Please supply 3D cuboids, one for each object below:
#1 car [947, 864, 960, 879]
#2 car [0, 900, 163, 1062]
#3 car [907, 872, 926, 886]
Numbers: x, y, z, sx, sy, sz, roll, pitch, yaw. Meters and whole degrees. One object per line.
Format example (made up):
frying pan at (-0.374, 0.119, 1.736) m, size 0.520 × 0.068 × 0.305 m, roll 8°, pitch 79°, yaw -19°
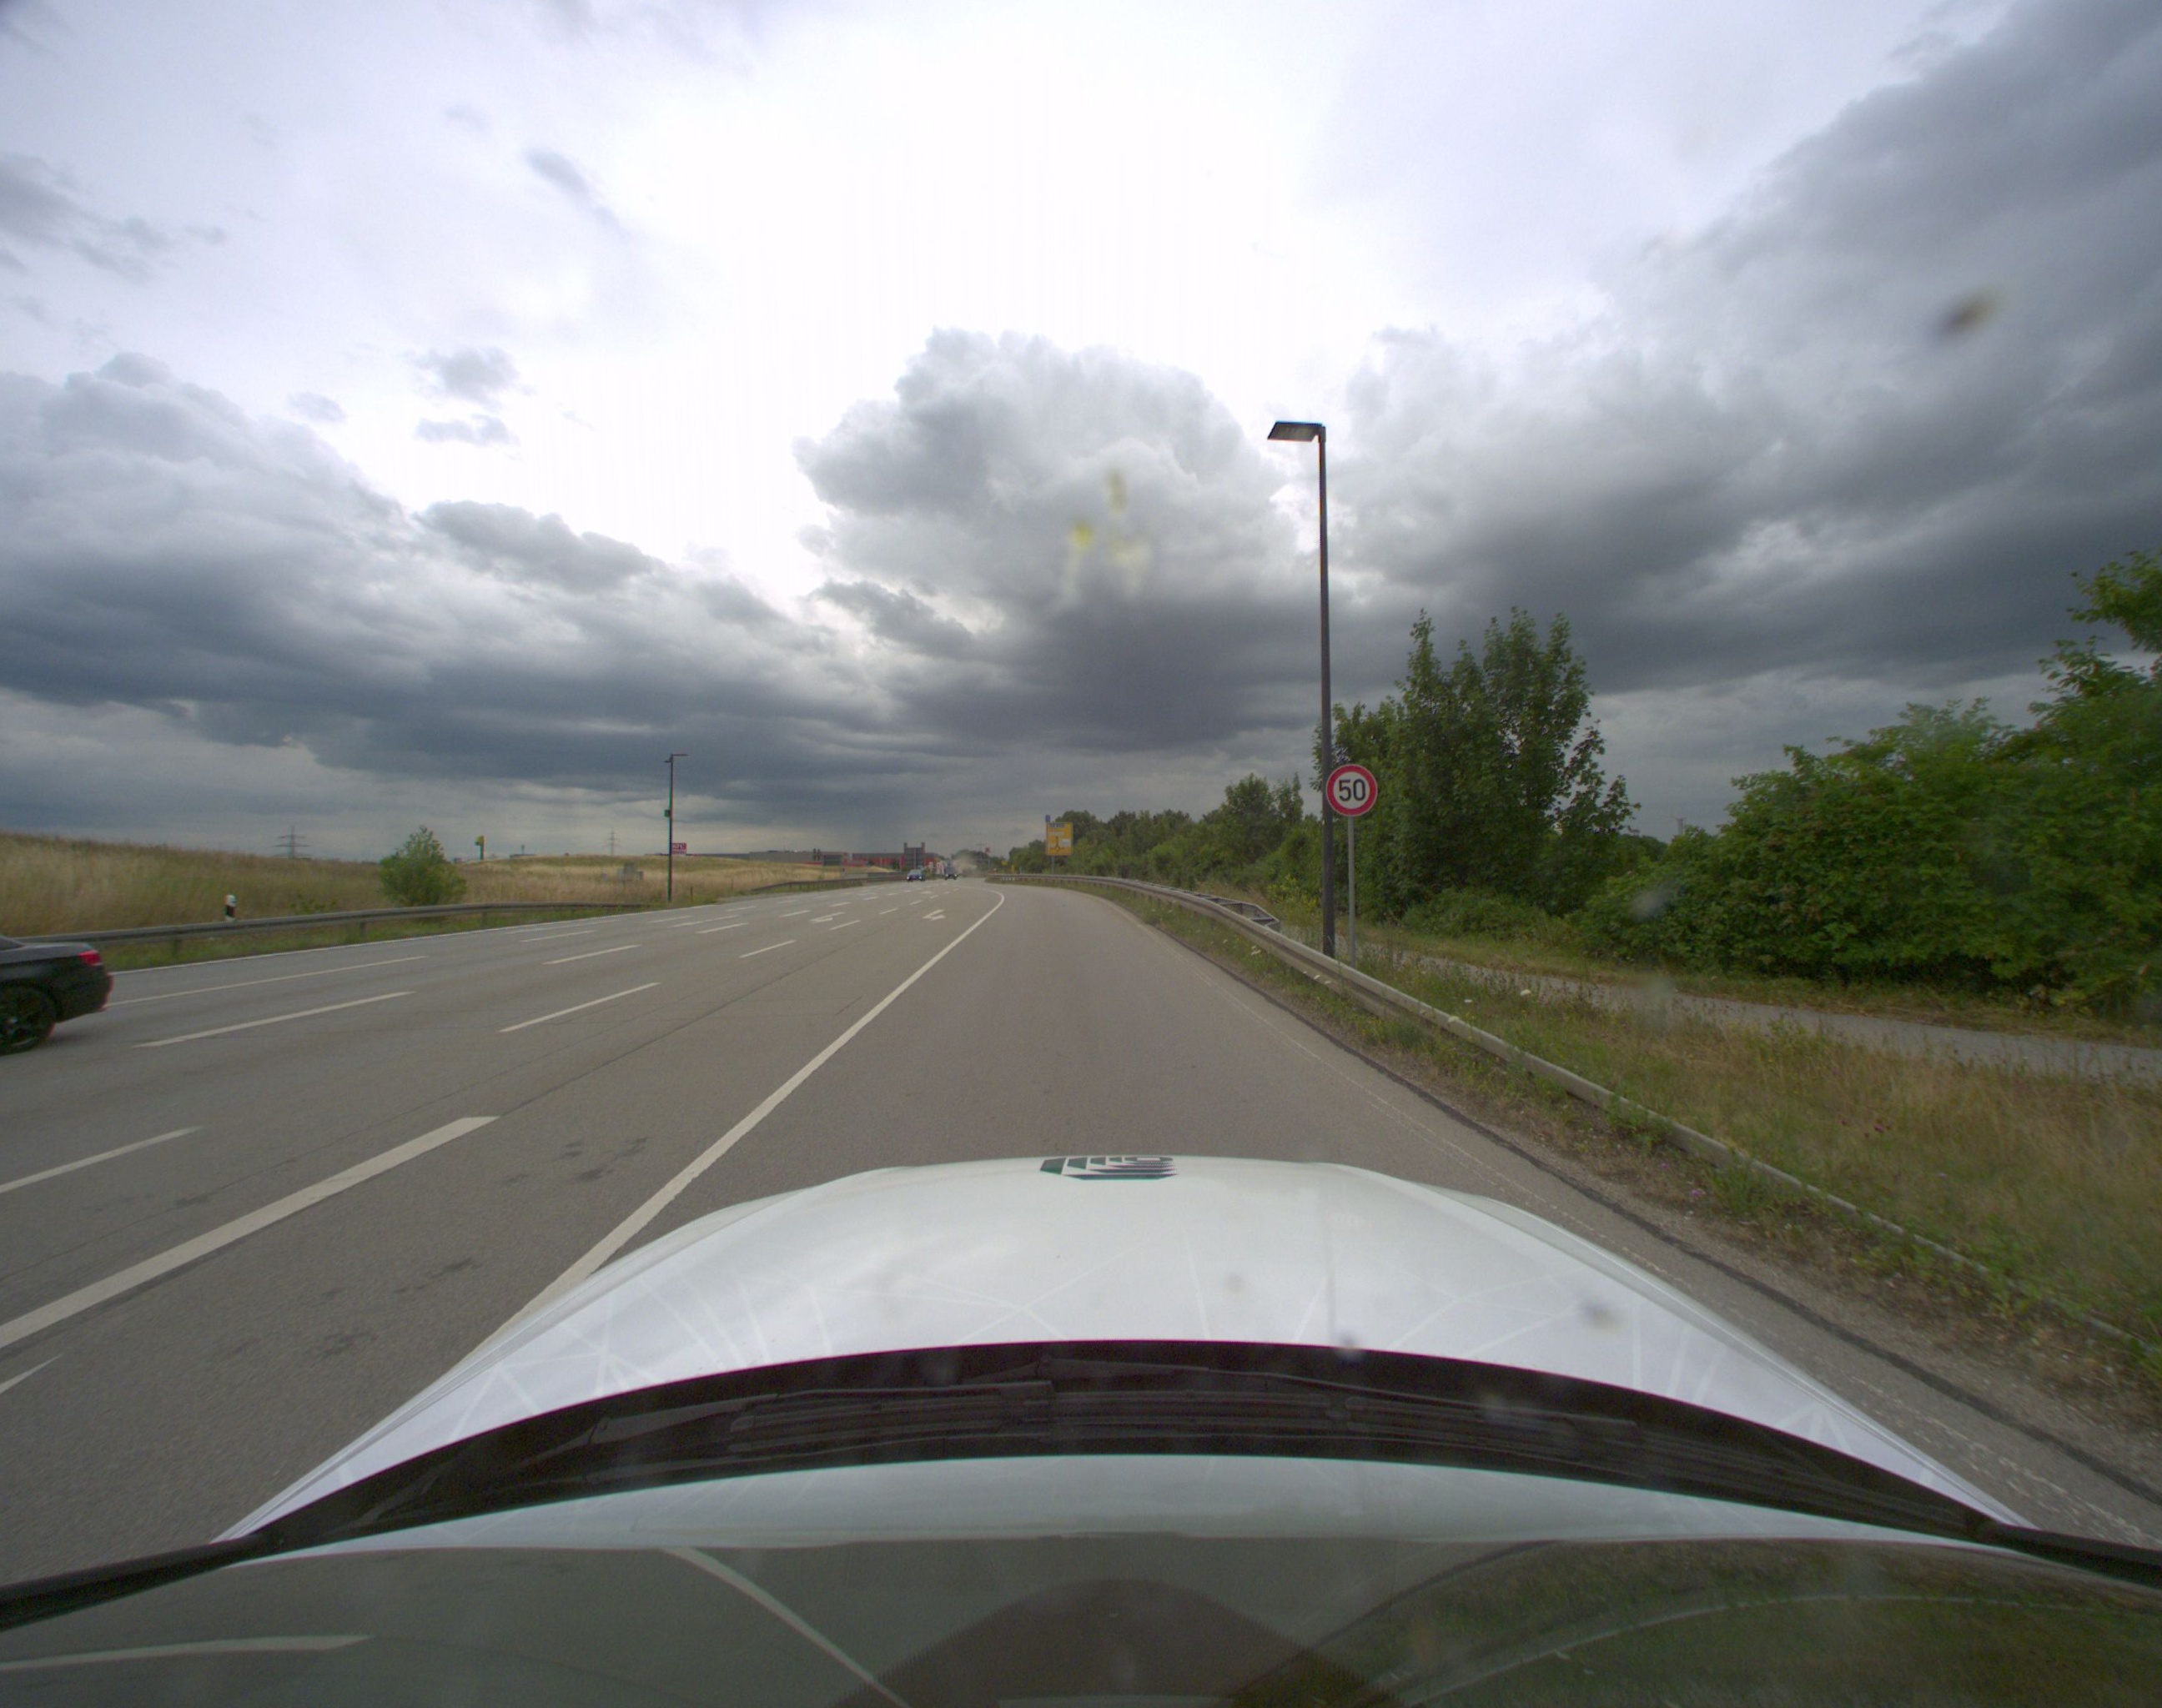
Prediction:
car at (-23.590, 3.208, 150.510) m, size 1.991 × 2.592 × 5.991 m, roll -1°, pitch -1°, yaw -6°
car at (-10.572, 1.172, 6.345) m, size 1.703 × 1.410 × 4.668 m, roll -1°, pitch -1°, yaw -3°
car at (-20.034, 3.051, 99.372) m, size 1.795 × 1.550 × 3.991 m, roll -1°, pitch -1°, yaw -6°
